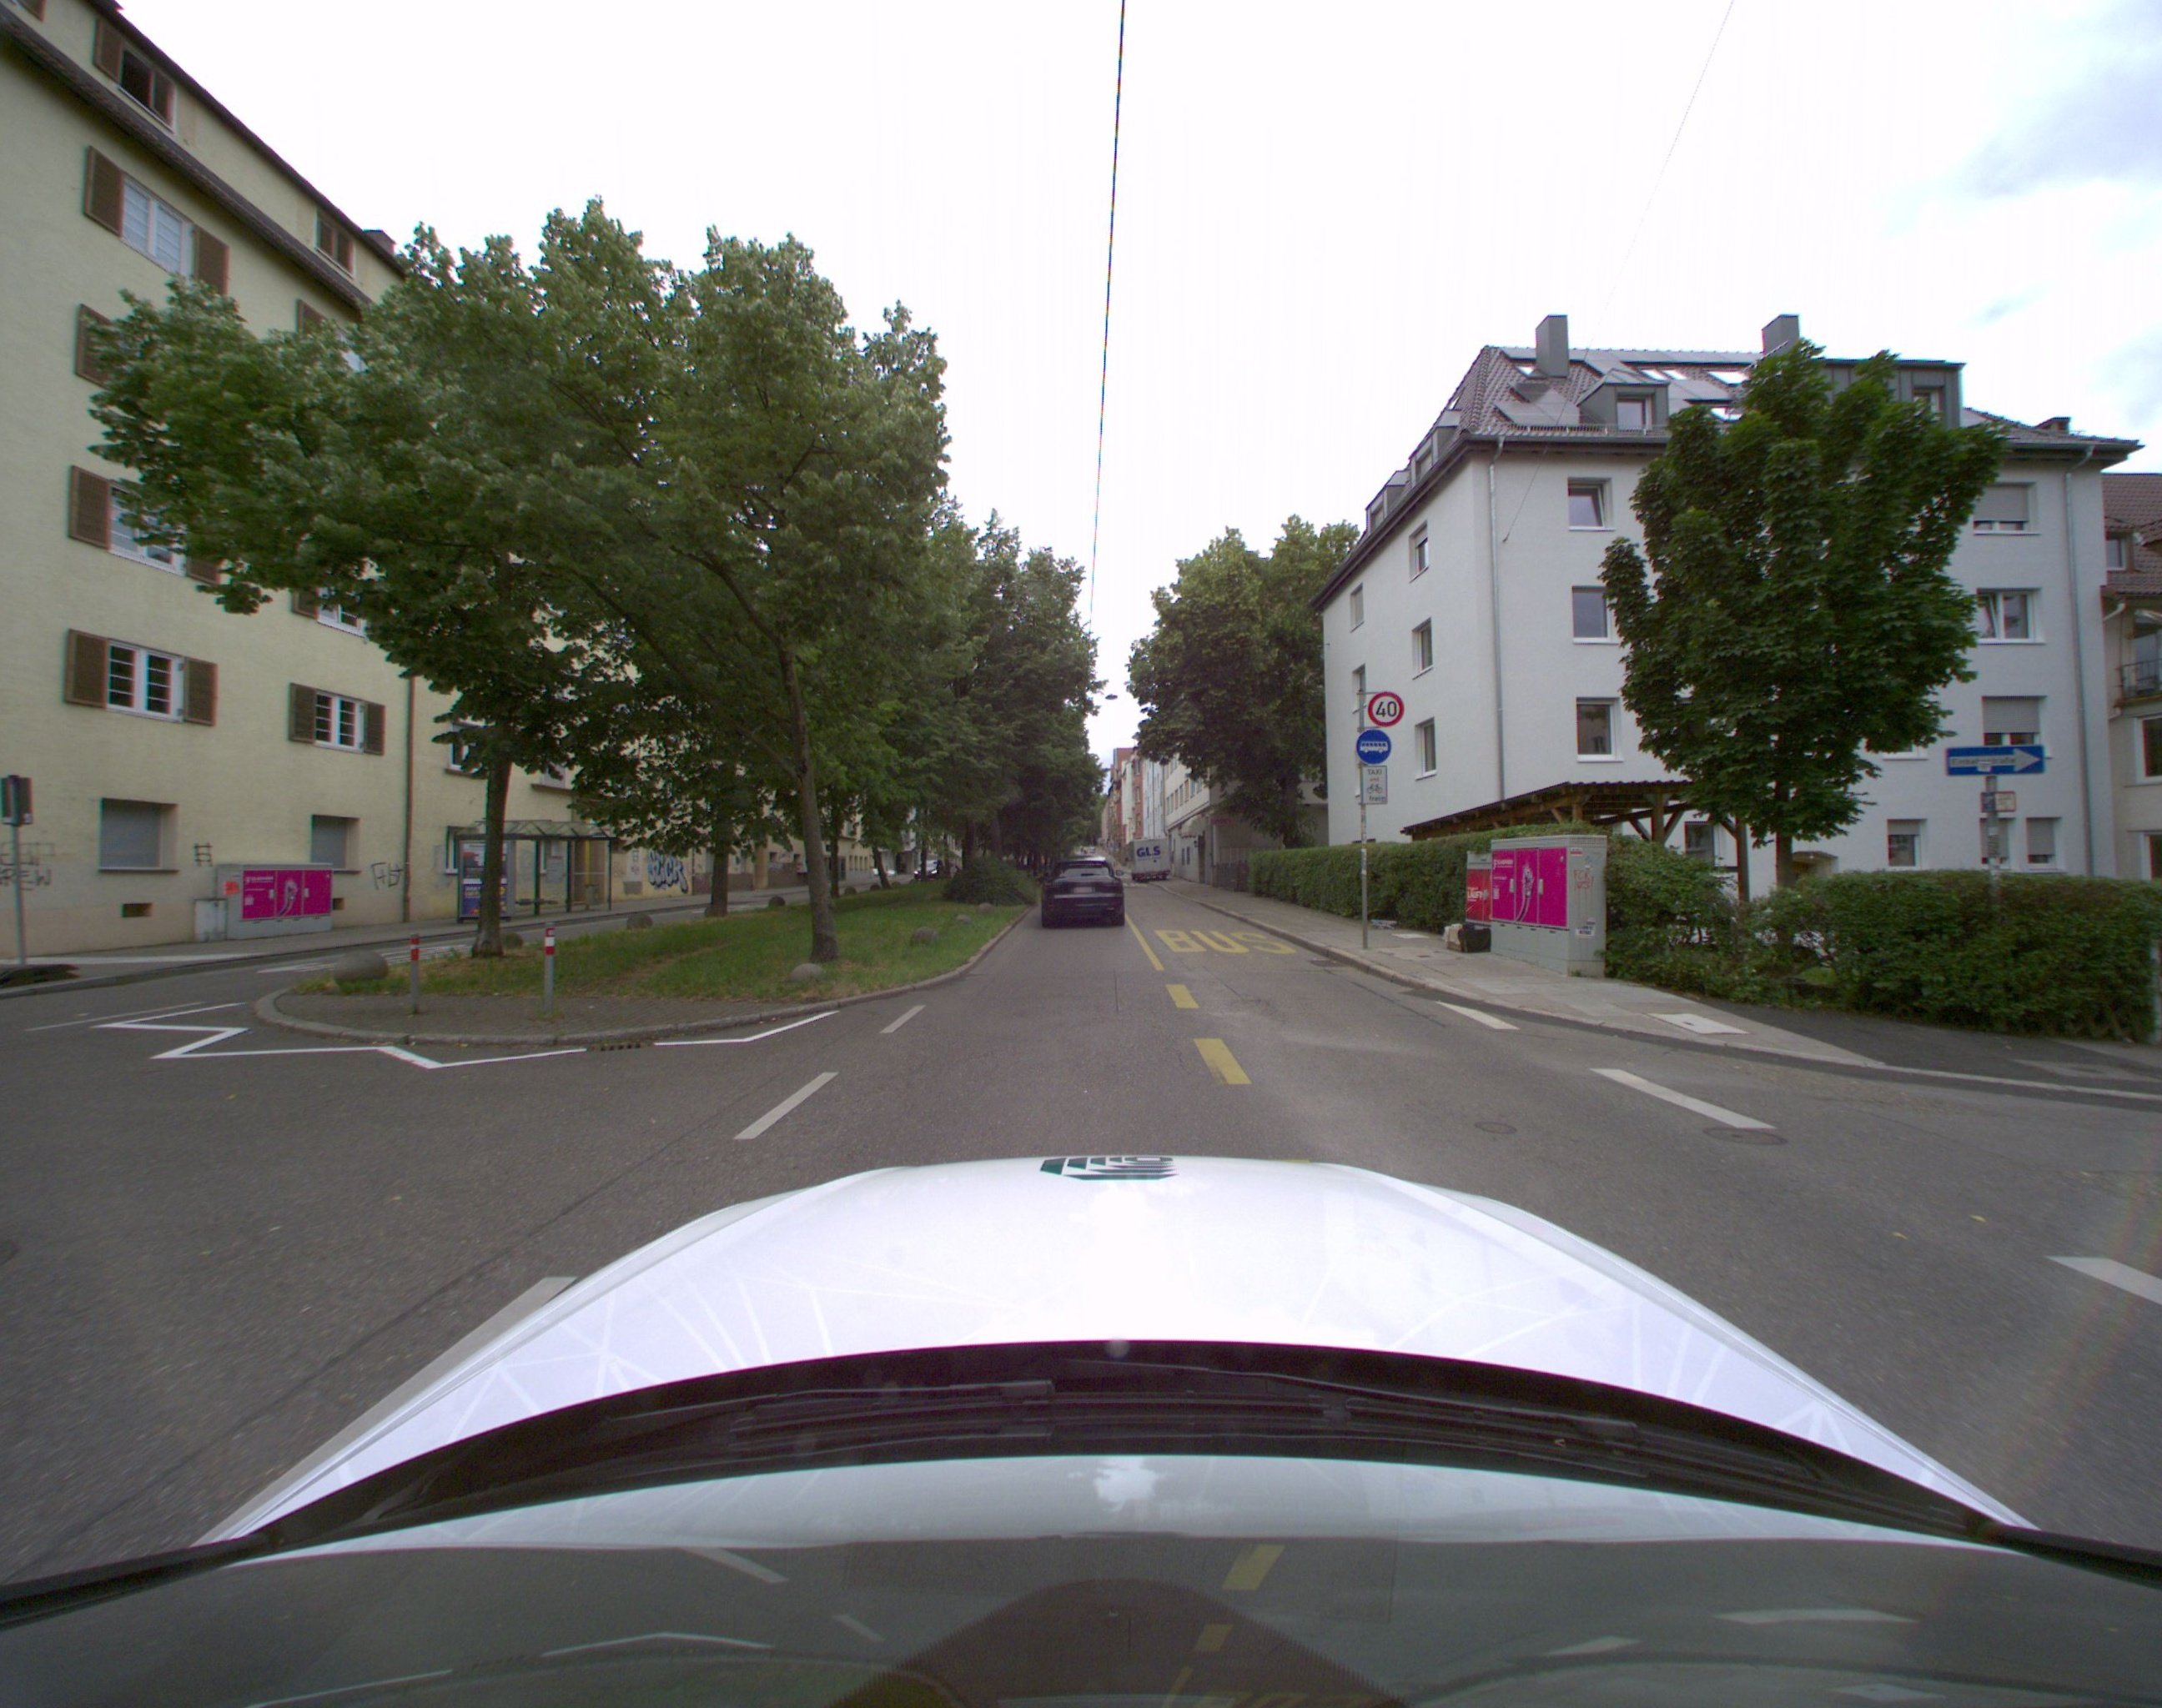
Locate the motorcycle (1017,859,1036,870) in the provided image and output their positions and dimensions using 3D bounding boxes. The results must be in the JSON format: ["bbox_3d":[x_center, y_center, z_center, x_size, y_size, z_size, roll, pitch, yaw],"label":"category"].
[{"bbox_3d":[-6.454,1.257,96.593,2.019,1.235,0.898,-1,0,5],"label":"motorcycle"}]

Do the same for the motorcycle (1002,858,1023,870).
[{"bbox_3d":[-7.835,1.159,93.239,2.375,1.317,1.045,-1,0,-2],"label":"motorcycle"}]

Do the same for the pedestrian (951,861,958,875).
[{"bbox_3d":[-14.869,1.638,95.700,0.660,1.616,0.579,0,0,2],"label":"pedestrian"}]

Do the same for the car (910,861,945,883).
[{"bbox_3d":[-11.920,1.384,63.516,1.943,1.628,4.363,0,0,-1],"label":"car"}]

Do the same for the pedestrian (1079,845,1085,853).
[{"bbox_3d":[0.295,-1.195,210.094,1.308,2.014,1.011,-1,-1,-26],"label":"pedestrian"}]

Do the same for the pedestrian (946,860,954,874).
[{"bbox_3d":[-15.145,1.521,94.316,0.628,1.613,0.768,0,0,25],"label":"pedestrian"}]

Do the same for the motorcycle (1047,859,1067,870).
[{"bbox_3d":[-2.815,1.275,96.078,2.349,1.235,1.033,-1,1,-2],"label":"motorcycle"}]

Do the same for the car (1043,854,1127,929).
[{"bbox_3d":[0.046,0.864,20.523,1.898,1.666,4.133,-1,0,-1],"label":"car"}]

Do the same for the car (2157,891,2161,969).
[{"bbox_3d":[23.635,1.540,15.699,3.989,1.552,1.992,1,0,-12],"label":"car"}]

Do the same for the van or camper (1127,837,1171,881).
[{"bbox_3d":[4.593,0.351,55.935,2.471,2.803,7.238,-1,0,1],"label":"van or camper"}]

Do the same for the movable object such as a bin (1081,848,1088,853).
[{"bbox_3d":[0.842,-0.814,208.926,1.244,1.274,1.830,-1,0,-27],"label":"movable object such as a bin"}]
